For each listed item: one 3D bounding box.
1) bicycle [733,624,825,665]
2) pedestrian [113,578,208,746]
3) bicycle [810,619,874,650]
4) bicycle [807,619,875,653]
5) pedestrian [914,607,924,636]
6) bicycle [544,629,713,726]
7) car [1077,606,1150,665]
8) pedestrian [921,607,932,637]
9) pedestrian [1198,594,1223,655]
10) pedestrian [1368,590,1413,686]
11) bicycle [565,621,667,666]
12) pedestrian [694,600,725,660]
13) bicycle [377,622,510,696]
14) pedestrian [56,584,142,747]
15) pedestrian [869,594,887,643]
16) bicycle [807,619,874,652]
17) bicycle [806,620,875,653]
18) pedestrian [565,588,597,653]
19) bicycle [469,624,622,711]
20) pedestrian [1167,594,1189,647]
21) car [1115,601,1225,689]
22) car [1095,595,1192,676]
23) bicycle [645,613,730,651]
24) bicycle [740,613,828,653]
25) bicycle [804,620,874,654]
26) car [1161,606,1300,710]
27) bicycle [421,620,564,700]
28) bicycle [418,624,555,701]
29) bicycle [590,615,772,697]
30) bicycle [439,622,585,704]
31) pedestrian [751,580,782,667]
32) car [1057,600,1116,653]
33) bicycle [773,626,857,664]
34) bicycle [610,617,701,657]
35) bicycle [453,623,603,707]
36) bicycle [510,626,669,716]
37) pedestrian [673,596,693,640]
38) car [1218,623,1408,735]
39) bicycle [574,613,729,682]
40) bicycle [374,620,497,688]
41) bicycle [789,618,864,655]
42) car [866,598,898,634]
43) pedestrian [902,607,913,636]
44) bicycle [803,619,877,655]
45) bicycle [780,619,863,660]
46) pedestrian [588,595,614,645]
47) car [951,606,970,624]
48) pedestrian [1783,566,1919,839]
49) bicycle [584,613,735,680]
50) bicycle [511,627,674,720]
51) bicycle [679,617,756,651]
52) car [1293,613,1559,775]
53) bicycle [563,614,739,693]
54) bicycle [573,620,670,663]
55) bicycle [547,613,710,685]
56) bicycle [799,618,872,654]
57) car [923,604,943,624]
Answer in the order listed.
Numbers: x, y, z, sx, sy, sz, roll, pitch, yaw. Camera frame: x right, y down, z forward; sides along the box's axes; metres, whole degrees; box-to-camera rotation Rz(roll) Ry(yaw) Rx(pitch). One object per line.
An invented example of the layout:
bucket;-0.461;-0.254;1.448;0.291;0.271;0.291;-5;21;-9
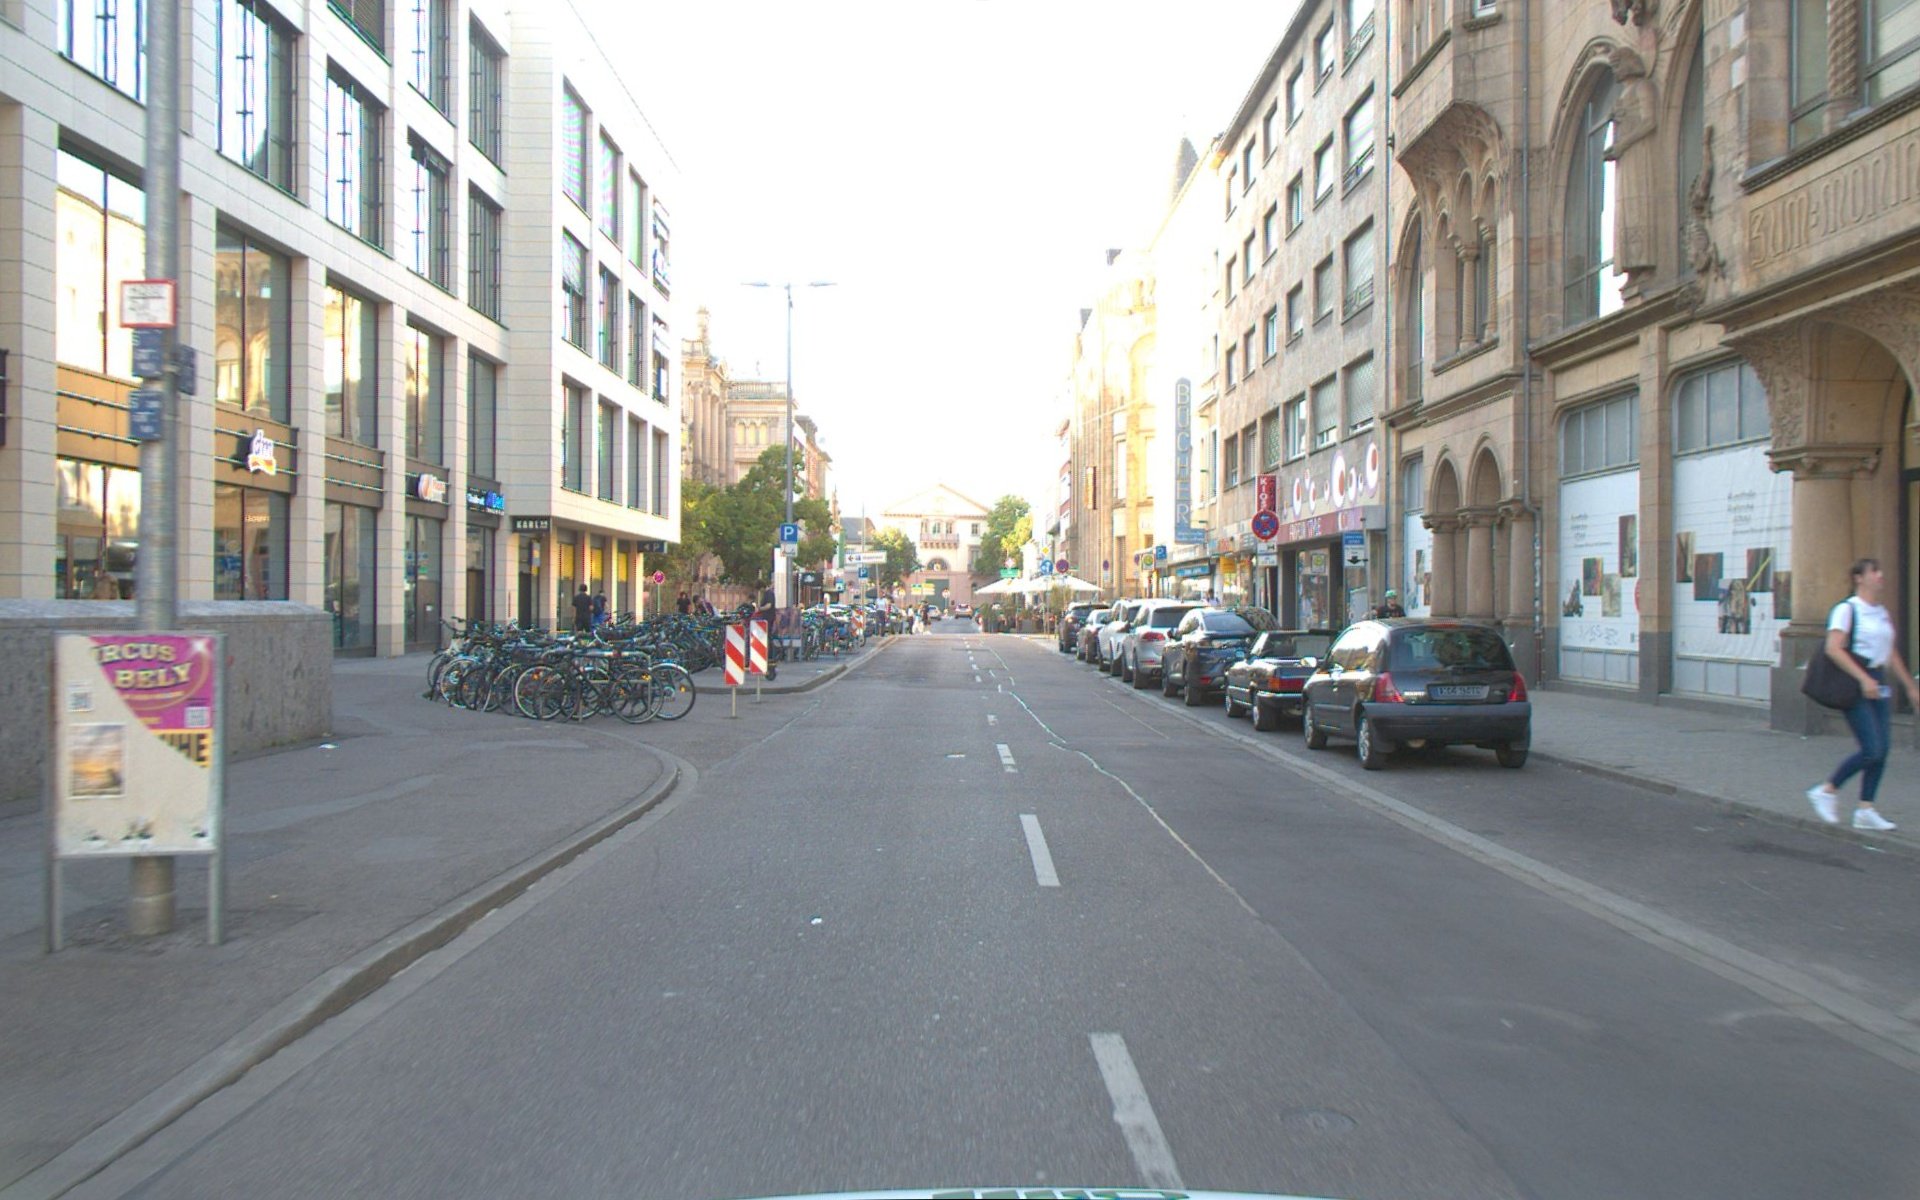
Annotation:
bicycle;-4.320;1.063;39.557;2.104;0.970;0.640;0;0;1
pedestrian;-8.333;0.635;17.254;0.667;1.710;0.600;1;-1;-3
bicycle;-4.030;1.162;56.527;2.104;1.047;0.640;0;0;1
bicycle;-3.802;1.144;52.835;2.104;1.047;0.640;0;0;1
pedestrian;-2.122;1.129;85.806;0.538;1.512;0.565;0;-1;-3
bicycle;-4.068;0.946;20.359;1.946;1.141;0.553;2;-1;-30
car;4.286;0.974;46.506;1.645;1.574;3.672;-1;0;-1
pedestrian;-1.711;1.130;84.324;0.538;1.512;0.565;0;-1;-3
pedestrian;7.599;0.748;50.249;0.631;1.831;0.671;0;0;-2
pedestrian;7.805;0.683;30.008;0.631;1.719;0.671;0;0;-2
bicycle;-7.583;0.954;36.466;2.104;0.970;0.640;0;0;1
pedestrian;-6.600;0.787;43.600;0.736;1.556;0.485;0;-1;-1
bicycle;-8.270;0.947;26.499;1.946;1.141;0.553;2;-1;-30
pedestrian;-9.049;0.683;17.397;0.588;1.675;0.545;1;-1;-3
pedestrian;-3.096;0.701;62.510;0.590;1.855;0.449;0;-1;-21
bicycle;-3.862;1.147;53.560;2.104;1.047;0.640;0;0;1
bicycle;-3.738;1.140;51.801;2.104;1.047;0.640;0;0;1
pedestrian;-9.700;0.514;42.337;0.666;1.649;0.573;0;-1;-1
bicycle;-5.671;0.919;22.662;1.946;1.141;0.553;2;-1;-30
pedestrian;7.326;0.691;55.609;0.631;1.777;0.671;0;0;-2
car;4.217;0.872;33.731;1.645;1.641;4.027;-1;0;-1
car;4.329;0.815;39.568;1.762;1.799;4.397;-1;0;-1
bicycle;-7.067;0.832;42.978;2.104;0.970;0.640;0;0;1
bicycle;-4.372;0.817;41.083;2.104;0.970;0.640;0;0;1
bicycle;-3.721;1.135;51.031;2.104;1.047;0.640;0;0;1
car;4.436;0.914;27.593;1.645;1.574;3.672;-1;0;-1
bicycle;-6.921;0.898;24.521;1.946;1.141;0.553;2;-1;-30
bicycle;-7.278;0.967;25.464;1.946;1.141;0.553;2;-1;-30
bicycle;-4.559;0.895;27.099;2.852;1.277;0.797;0;0;-27
bicycle;-6.469;0.906;23.922;1.946;1.141;0.553;2;-1;-30
pedestrian;-4.189;0.501;35.785;0.645;1.855;0.527;0;-1;-11
car;4.229;0.875;55.824;1.645;1.695;3.672;-1;0;-1
bicycle;-3.722;1.153;42.529;2.104;0.970;0.640;0;0;1
bicycle;-7.485;0.911;40.692;2.104;0.970;0.640;0;0;1
bicycle;-6.072;0.912;23.299;1.946;1.141;0.553;2;-1;-30
bicycle;-4.874;0.934;21.817;1.946;1.141;0.553;2;-1;-30
pedestrian;-10.472;0.687;62.561;0.666;1.649;0.573;0;-1;-1
car;4.653;1.002;22.346;1.645;1.313;4.046;-1;0;-1
bicycle;-5.926;0.890;31.828;2.852;1.277;0.797;0;0;-27
bicycle;-9.086;0.940;28.661;1.946;1.141;0.553;2;-1;-30
bicycle;-3.848;1.056;47.648;2.104;1.047;0.640;0;0;1
car;-4.453;0.923;95.105;1.676;2.049;3.999;0;0;-1
pedestrian;-2.698;1.109;85.003;0.538;1.512;0.565;0;-1;-3
bicycle;-3.516;1.070;48.442;2.104;1.047;0.640;0;0;1
bicycle;-3.629;1.035;43.441;2.104;1.047;0.640;0;0;1
pedestrian;-11.795;0.660;54.352;0.716;1.649;0.661;0;-1;-1
car;0.041;1.622;184.033;1.953;1.937;3.999;1;0;-1
pedestrian;6.059;0.657;10.986;0.818;1.751;0.680;0;-1;-8
bicycle;-5.946;0.895;32.802;2.852;1.277;0.797;0;0;-27
bicycle;-4.675;0.935;21.102;1.946;1.141;0.553;2;-1;-30
bicycle;-6.949;0.968;47.528;2.104;0.970;0.640;0;0;1
car;4.669;0.879;17.088;1.645;1.449;3.672;-1;0;-1
bicycle;-5.248;0.884;28.175;2.852;1.277;0.797;0;0;-27
bicycle;-7.829;0.959;38.270;2.104;0.970;0.640;0;0;1
bicycle;-6.067;0.877;30.353;2.852;1.277;0.797;0;0;-27
bicycle;-3.685;1.070;49.170;2.104;1.047;0.640;0;0;1
car;-2.723;1.432;165.467;1.953;1.937;3.999;1;0;-1
